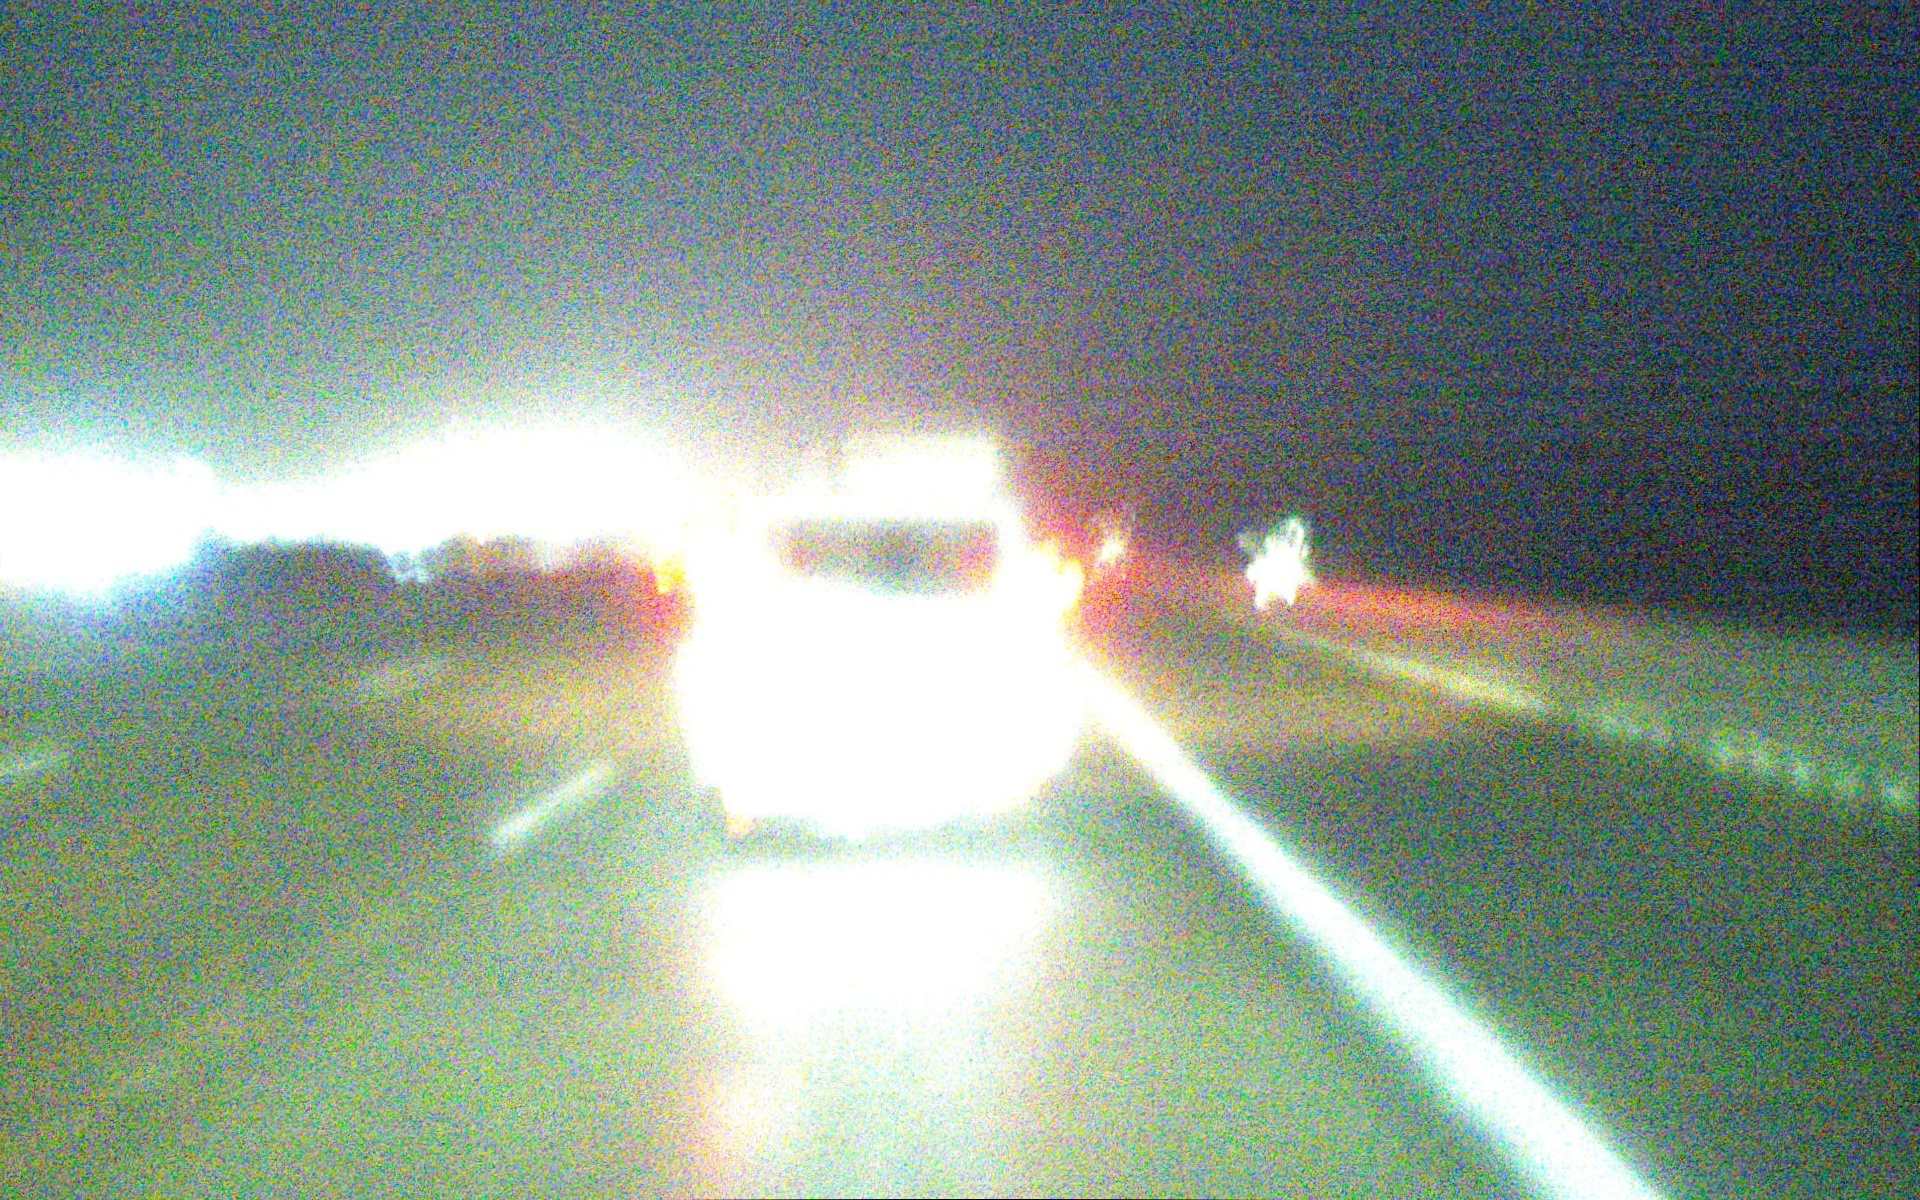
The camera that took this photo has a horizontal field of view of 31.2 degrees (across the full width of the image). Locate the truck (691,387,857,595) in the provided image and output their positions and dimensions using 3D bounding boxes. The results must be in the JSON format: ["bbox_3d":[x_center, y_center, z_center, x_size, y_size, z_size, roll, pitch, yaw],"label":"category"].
[{"bbox_3d":[-5.216,-3.038,99.363,4.167,5.525,13.075,1,1,-1],"label":"truck"}]

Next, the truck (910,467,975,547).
[{"bbox_3d":[-1.184,-5.881,219.748,3.824,4.898,11.607,2,1,-1],"label":"truck"}]

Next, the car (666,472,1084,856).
[{"bbox_3d":[-0.499,0.268,18.981,1.953,1.786,5.125,1,1,-2],"label":"car"}]
